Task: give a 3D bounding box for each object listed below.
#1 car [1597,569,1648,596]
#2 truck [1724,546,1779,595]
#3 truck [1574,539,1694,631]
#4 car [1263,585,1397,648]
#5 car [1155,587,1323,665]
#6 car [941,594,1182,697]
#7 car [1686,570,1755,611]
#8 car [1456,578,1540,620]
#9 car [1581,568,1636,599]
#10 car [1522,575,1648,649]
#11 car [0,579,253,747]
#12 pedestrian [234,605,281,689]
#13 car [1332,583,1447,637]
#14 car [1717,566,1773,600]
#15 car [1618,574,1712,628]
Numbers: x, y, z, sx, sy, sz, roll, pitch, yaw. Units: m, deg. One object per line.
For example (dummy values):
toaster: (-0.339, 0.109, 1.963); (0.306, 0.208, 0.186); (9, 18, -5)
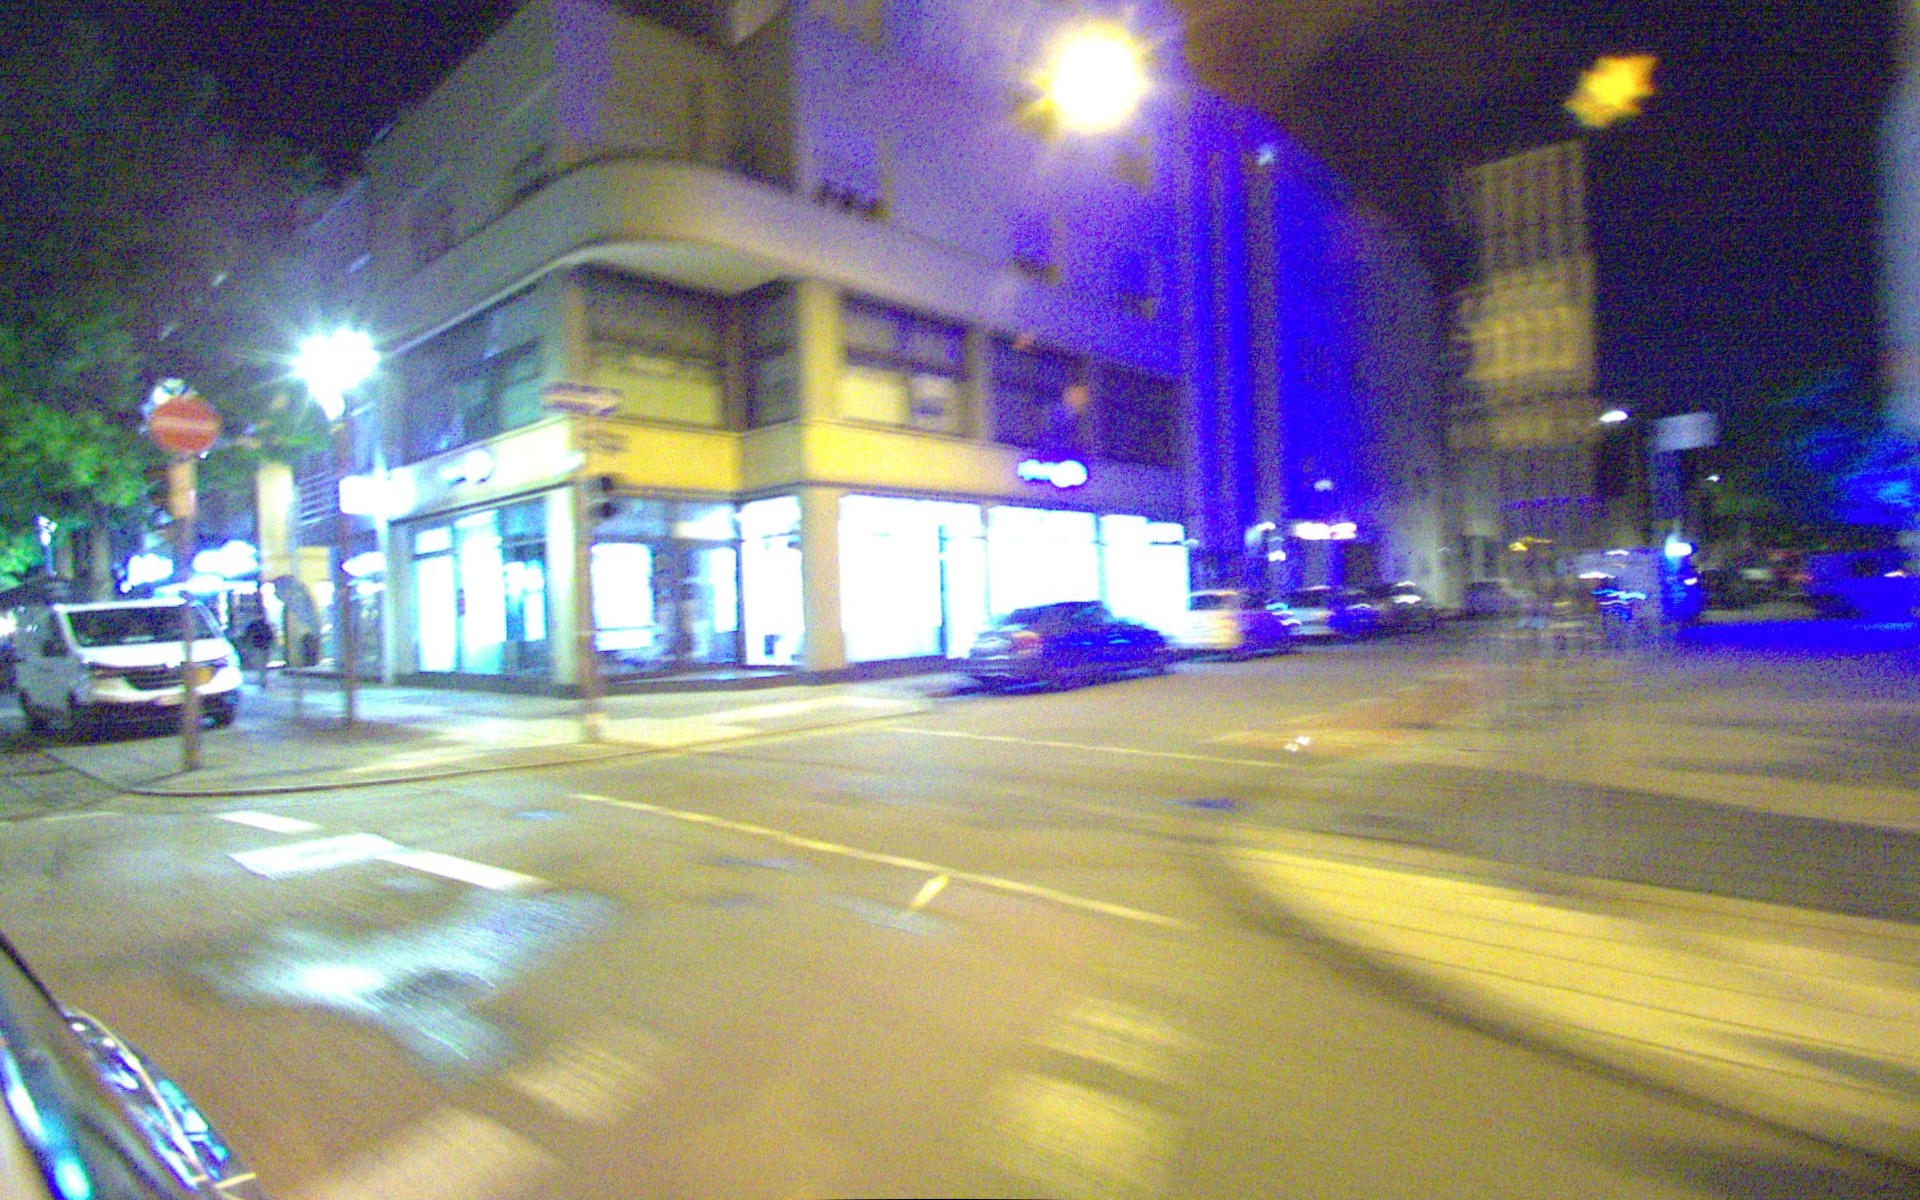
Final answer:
car: (37.367, -0.994, 57.050); (1.803, 1.406, 3.856); (-2, 0, 42)
truck: (39.177, -1.429, 50.061); (1.858, 2.255, 3.939); (-2, 0, 42)
truck: (16.408, -0.333, 24.561); (1.858, 2.038, 3.986); (-2, 0, 42)
car: (9.270, 0.382, 25.231); (1.803, 1.406, 3.856); (-2, 0, 42)
car: (6.022, 0.497, 21.590); (1.803, 1.447, 4.092); (-2, 0, 42)
car: (1.813, 0.675, 16.897); (1.803, 1.408, 4.282); (-2, 0, 42)
car: (28.733, -0.351, 38.197); (1.726, 1.429, 3.856); (-2, 0, 42)
car: (19.658, -0.050, 36.912); (1.803, 1.406, 3.856); (-2, 0, 42)
car: (34.213, -0.863, 53.339); (1.803, 1.534, 3.856); (-2, 0, 42)
car: (12.867, 0.219, 20.782); (1.659, 1.395, 3.058); (-2, 0, 42)
car: (-12.759, 0.868, 15.344); (5.083, 2.102, 1.835); (-2, 1, 38)
pedestrian: (-15.688, 1.038, 22.608); (0.716, 1.820, 0.710); (-2, -1, 43)
car: (12.203, 0.262, 28.650); (1.803, 1.406, 3.856); (-2, 0, 42)
car: (36.195, -0.778, 46.628); (1.726, 1.429, 3.856); (-2, 0, 42)
car: (20.179, 0.014, 28.906); (1.726, 1.429, 3.856); (-2, 0, 42)
